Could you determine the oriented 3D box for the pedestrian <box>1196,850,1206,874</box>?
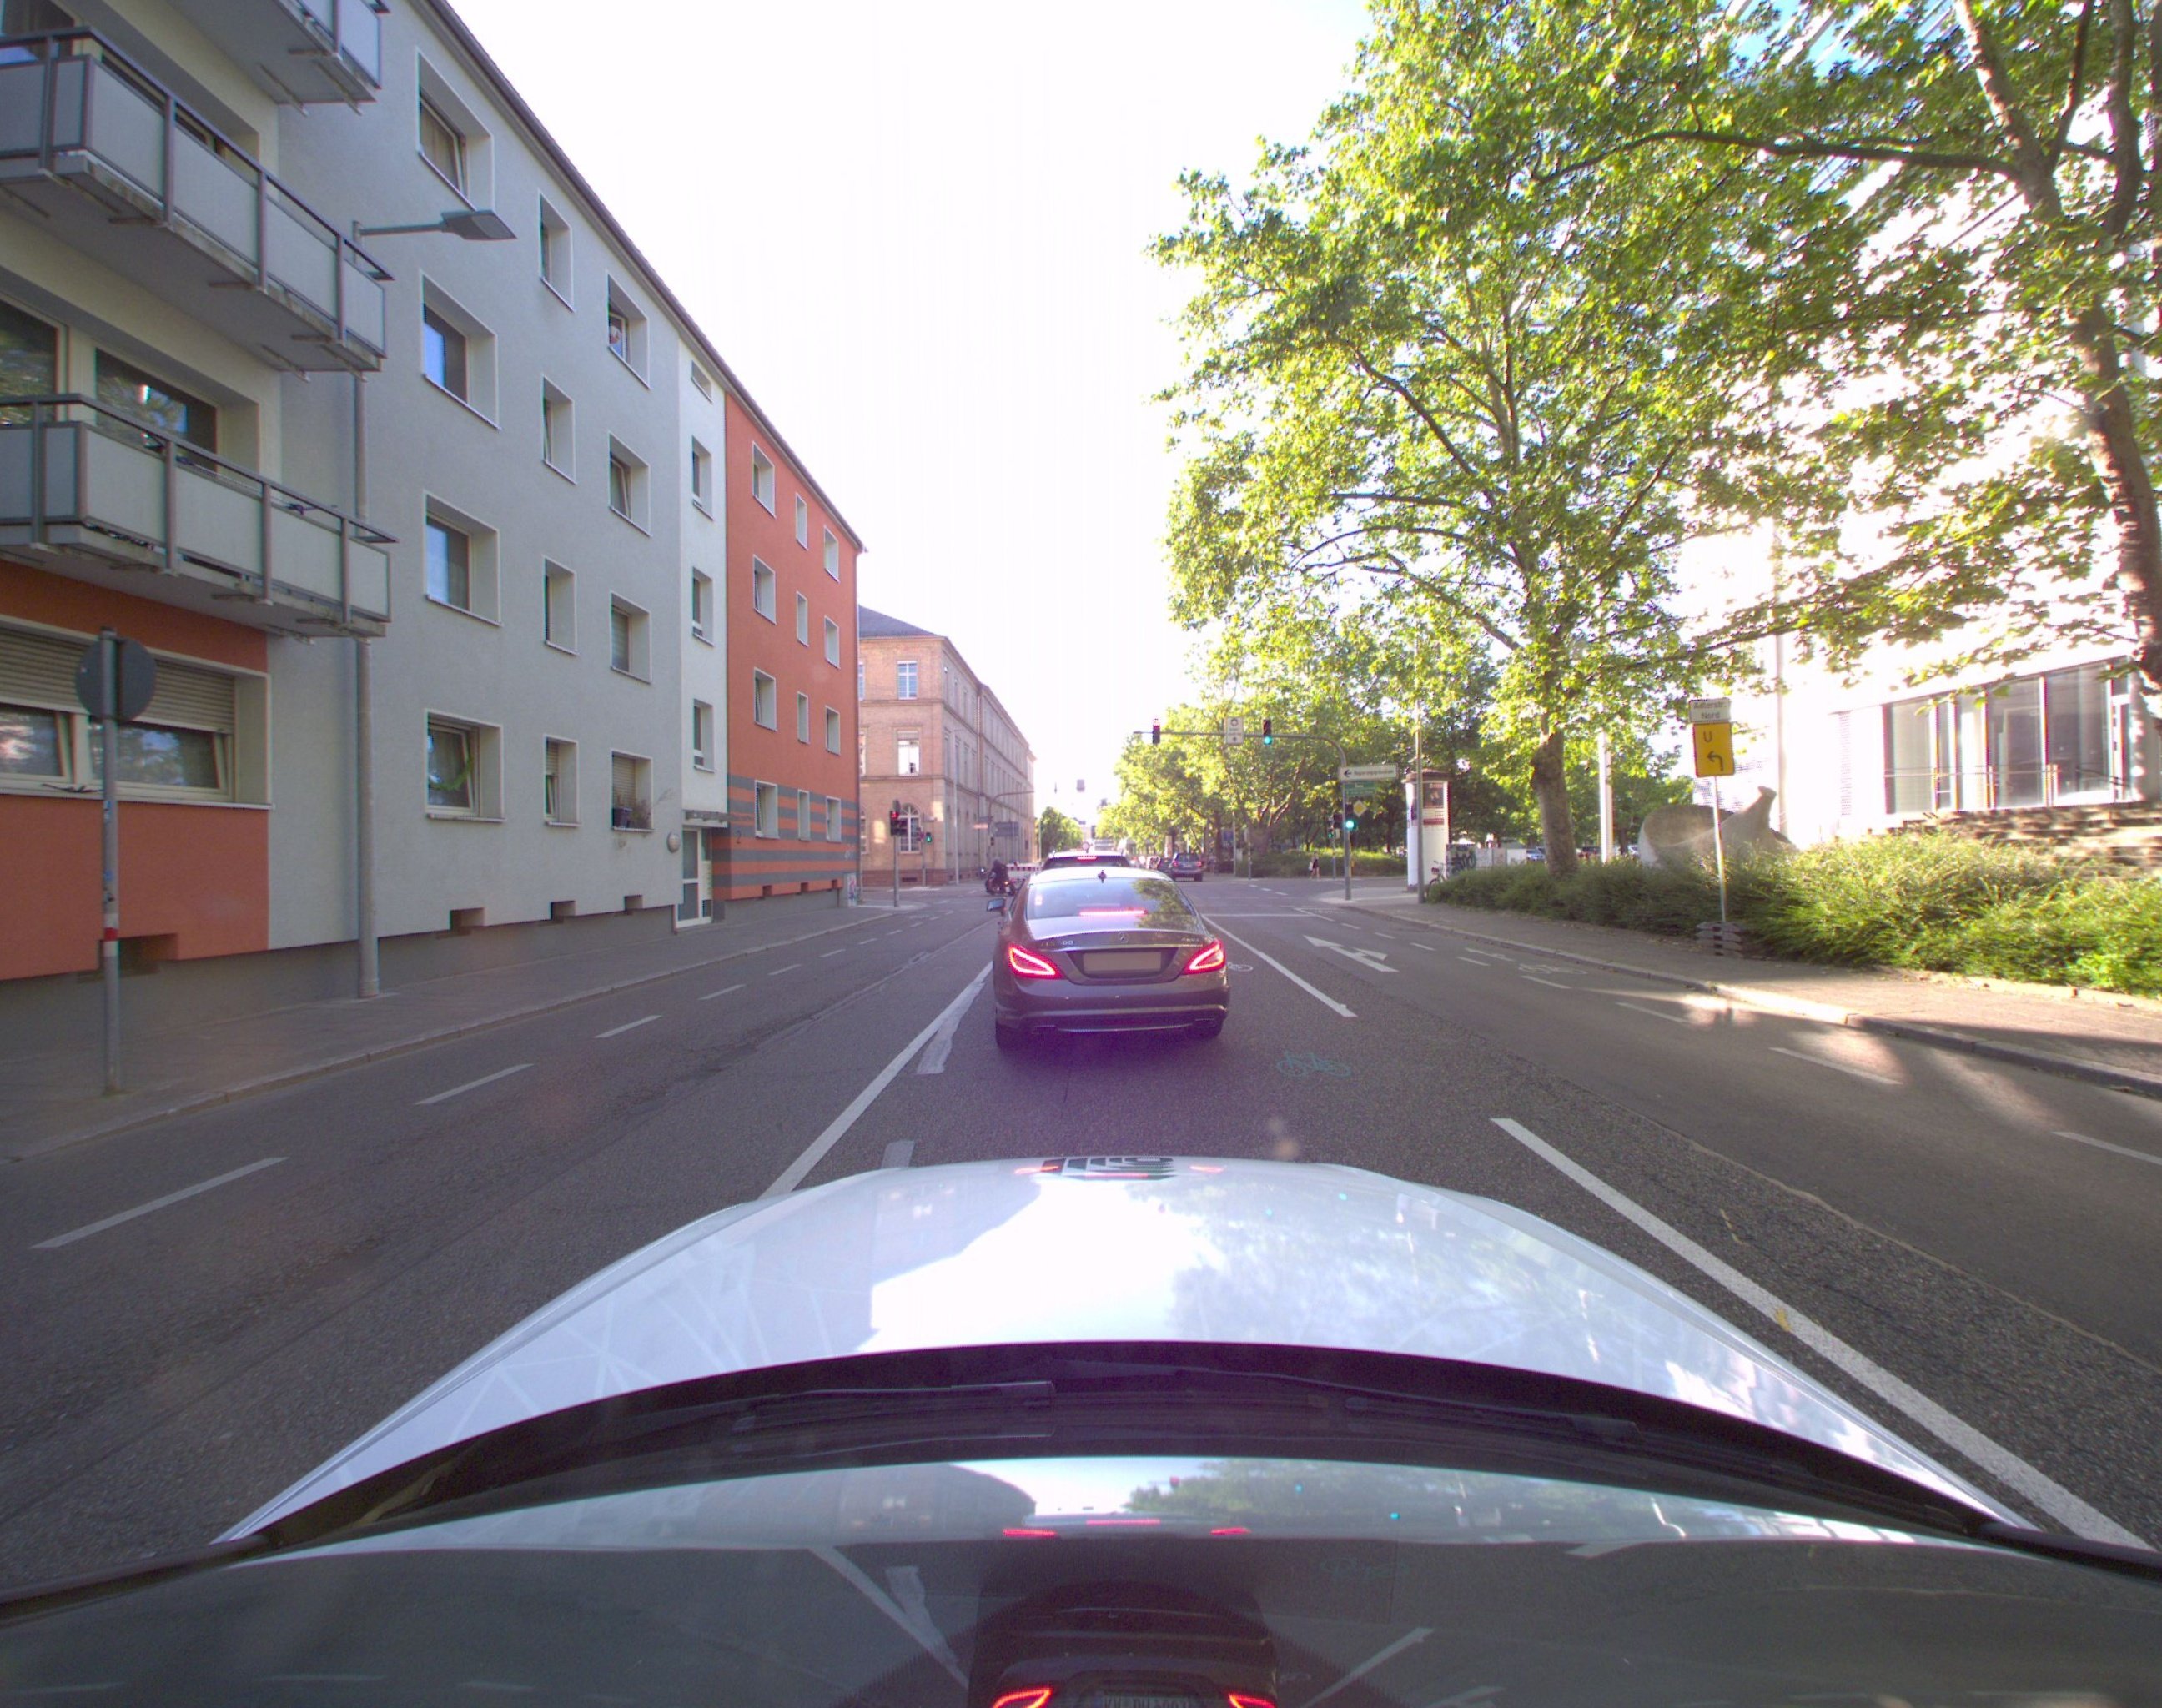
[{"bbox_3d":[9.228,0.632,62.472,0.634,1.797,0.698,0,-1,-2],"label":"pedestrian"}]

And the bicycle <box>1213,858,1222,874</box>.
[{"bbox_3d":[10.462,0.911,62.424,0.480,1.202,1.607,0,-1,2],"label":"bicycle"}]

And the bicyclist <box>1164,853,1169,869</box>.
[{"bbox_3d":[11.020,0.855,104.941,0.593,2.039,0.566,0,-1,-2],"label":"bicyclist"}]

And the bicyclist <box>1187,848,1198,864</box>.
[{"bbox_3d":[9.765,0.151,71.134,0.726,1.398,0.703,-1,-1,30],"label":"bicyclist"}]

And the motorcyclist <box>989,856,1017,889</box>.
[{"bbox_3d":[-3.086,0.740,32.291,0.792,1.294,0.794,-1,-1,30],"label":"motorcyclist"}]

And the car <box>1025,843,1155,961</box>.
[{"bbox_3d":[0.196,0.701,13.746,1.854,1.682,4.002,-1,0,2],"label":"car"}]

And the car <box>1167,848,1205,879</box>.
[{"bbox_3d":[6.310,0.569,49.541,1.854,1.764,4.483,-1,0,2],"label":"car"}]

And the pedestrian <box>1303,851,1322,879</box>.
[{"bbox_3d":[12.898,0.606,45.403,0.636,1.545,0.906,0,-1,-12],"label":"pedestrian"}]

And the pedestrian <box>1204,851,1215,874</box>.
[{"bbox_3d":[9.862,0.644,62.493,0.634,1.760,0.698,0,-1,-2],"label":"pedestrian"}]

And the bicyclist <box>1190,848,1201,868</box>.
[{"bbox_3d":[9.530,0.349,67.622,0.822,1.618,0.958,0,-1,1],"label":"bicyclist"}]

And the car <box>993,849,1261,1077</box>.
[{"bbox_3d":[0.148,0.741,7.611,1.859,1.519,3.992,-1,0,-6],"label":"car"}]

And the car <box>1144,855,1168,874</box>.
[{"bbox_3d":[6.298,0.880,68.591,1.698,1.519,4.002,-1,0,2],"label":"car"}]

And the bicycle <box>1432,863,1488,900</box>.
[{"bbox_3d":[10.989,0.781,23.585,1.895,1.028,0.635,0,-1,-36],"label":"bicycle"}]

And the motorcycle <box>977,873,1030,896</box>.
[{"bbox_3d":[-3.074,1.206,32.282,2.033,0.892,0.760,-1,-1,31],"label":"motorcycle"}]
